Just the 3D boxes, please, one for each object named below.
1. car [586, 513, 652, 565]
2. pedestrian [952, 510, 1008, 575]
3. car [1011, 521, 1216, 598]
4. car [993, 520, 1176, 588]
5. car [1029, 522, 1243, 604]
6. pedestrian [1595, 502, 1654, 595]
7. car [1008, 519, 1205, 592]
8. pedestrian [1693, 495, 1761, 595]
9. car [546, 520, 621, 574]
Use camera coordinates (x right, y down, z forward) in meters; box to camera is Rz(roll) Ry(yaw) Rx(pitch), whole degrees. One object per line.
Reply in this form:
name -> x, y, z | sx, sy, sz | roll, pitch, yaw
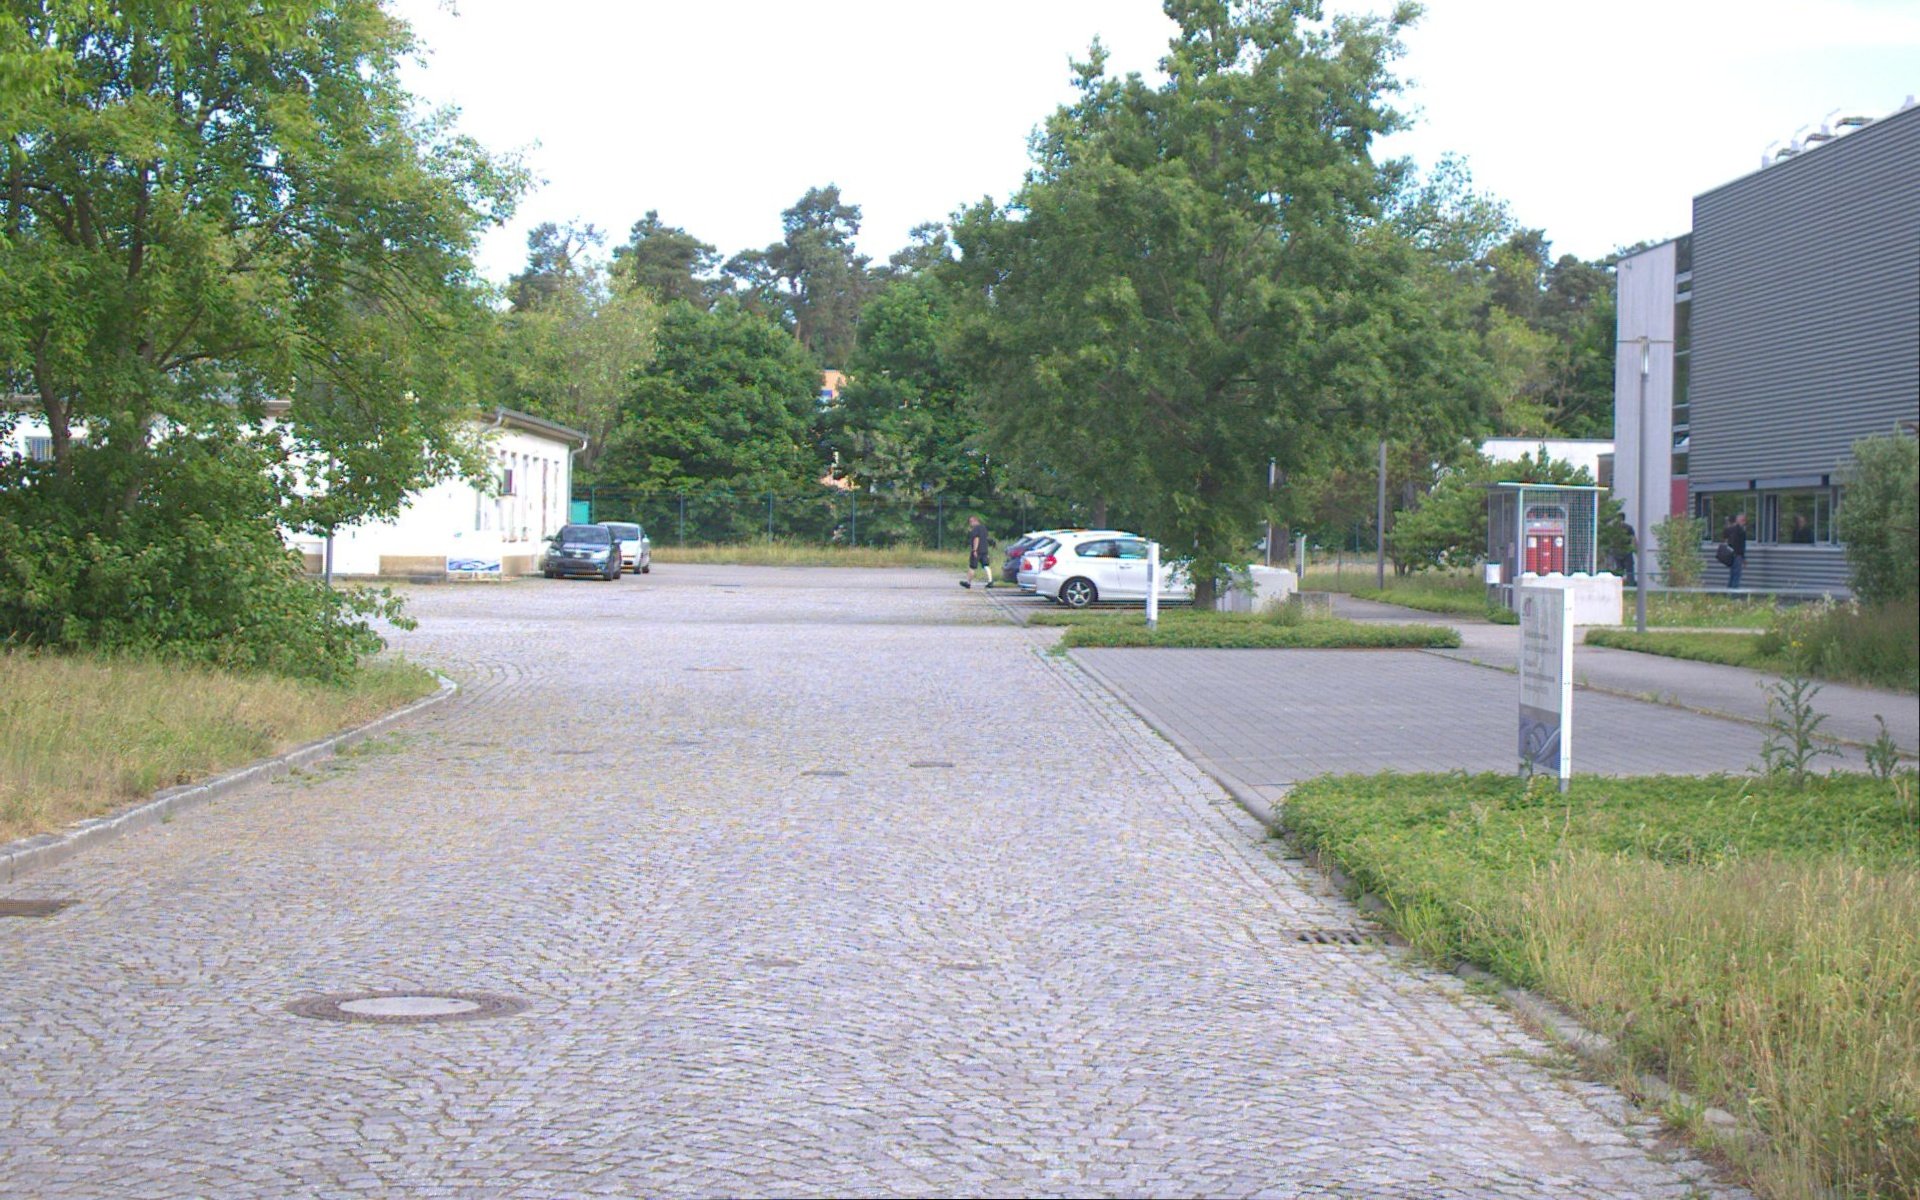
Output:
car -> -9.972, -1.797, 100.601 | 1.748, 1.449, 4.001 | 1, 1, -3
pedestrian -> 0.492, -1.407, 83.742 | 0.940, 1.563, 0.970 | 0, 2, -44
car -> 3.044, -0.815, 68.737 | 3.987, 1.450, 1.697 | 1, 1, -1
car -> 2.755, -1.035, 76.676 | 3.987, 1.450, 1.770 | 1, 1, -1
car -> 3.385, -0.716, 66.573 | 3.987, 1.450, 2.000 | 2, 1, -1
pedestrian -> 14.545, -1.136, 75.298 | 0.920, 2.007, 1.147 | 1, 1, -7
car -> 3.038, -0.929, 71.776 | 3.987, 1.450, 1.770 | 1, 1, -1
pedestrian -> 14.962, -1.071, 67.087 | 0.917, 1.930, 0.855 | 1, 1, -31
car -> -9.876, -1.412, 90.374 | 1.748, 1.359, 4.001 | 1, 1, -3
